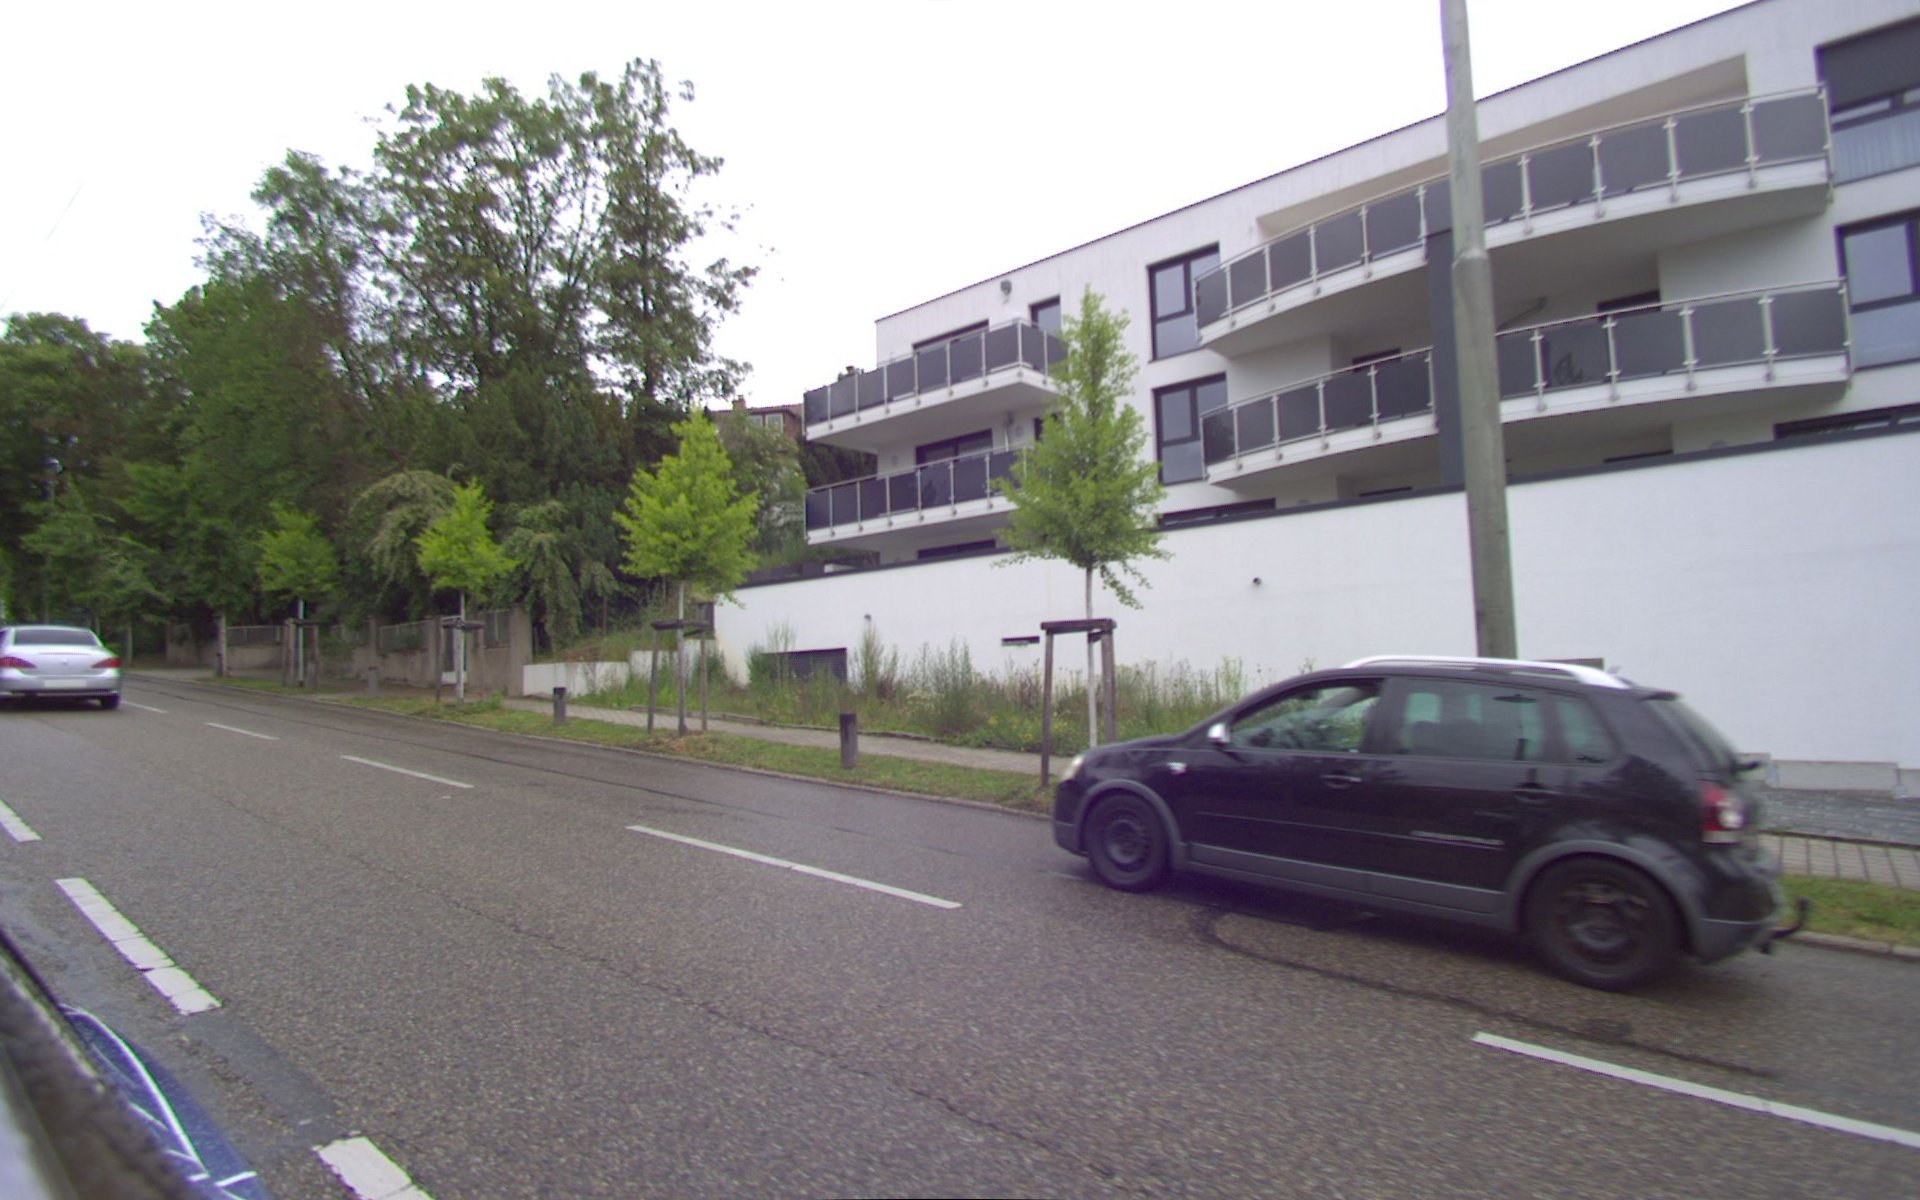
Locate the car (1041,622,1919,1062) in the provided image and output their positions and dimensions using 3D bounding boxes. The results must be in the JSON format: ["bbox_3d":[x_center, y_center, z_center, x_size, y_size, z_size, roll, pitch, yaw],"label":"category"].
[{"bbox_3d":[2.568,0.972,5.621,3.915,1.561,1.728,0,-5,40],"label":"car"}]

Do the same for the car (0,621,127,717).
[{"bbox_3d":[-16.176,1.136,17.728,3.998,1.497,1.743,-1,-3,41],"label":"car"}]
